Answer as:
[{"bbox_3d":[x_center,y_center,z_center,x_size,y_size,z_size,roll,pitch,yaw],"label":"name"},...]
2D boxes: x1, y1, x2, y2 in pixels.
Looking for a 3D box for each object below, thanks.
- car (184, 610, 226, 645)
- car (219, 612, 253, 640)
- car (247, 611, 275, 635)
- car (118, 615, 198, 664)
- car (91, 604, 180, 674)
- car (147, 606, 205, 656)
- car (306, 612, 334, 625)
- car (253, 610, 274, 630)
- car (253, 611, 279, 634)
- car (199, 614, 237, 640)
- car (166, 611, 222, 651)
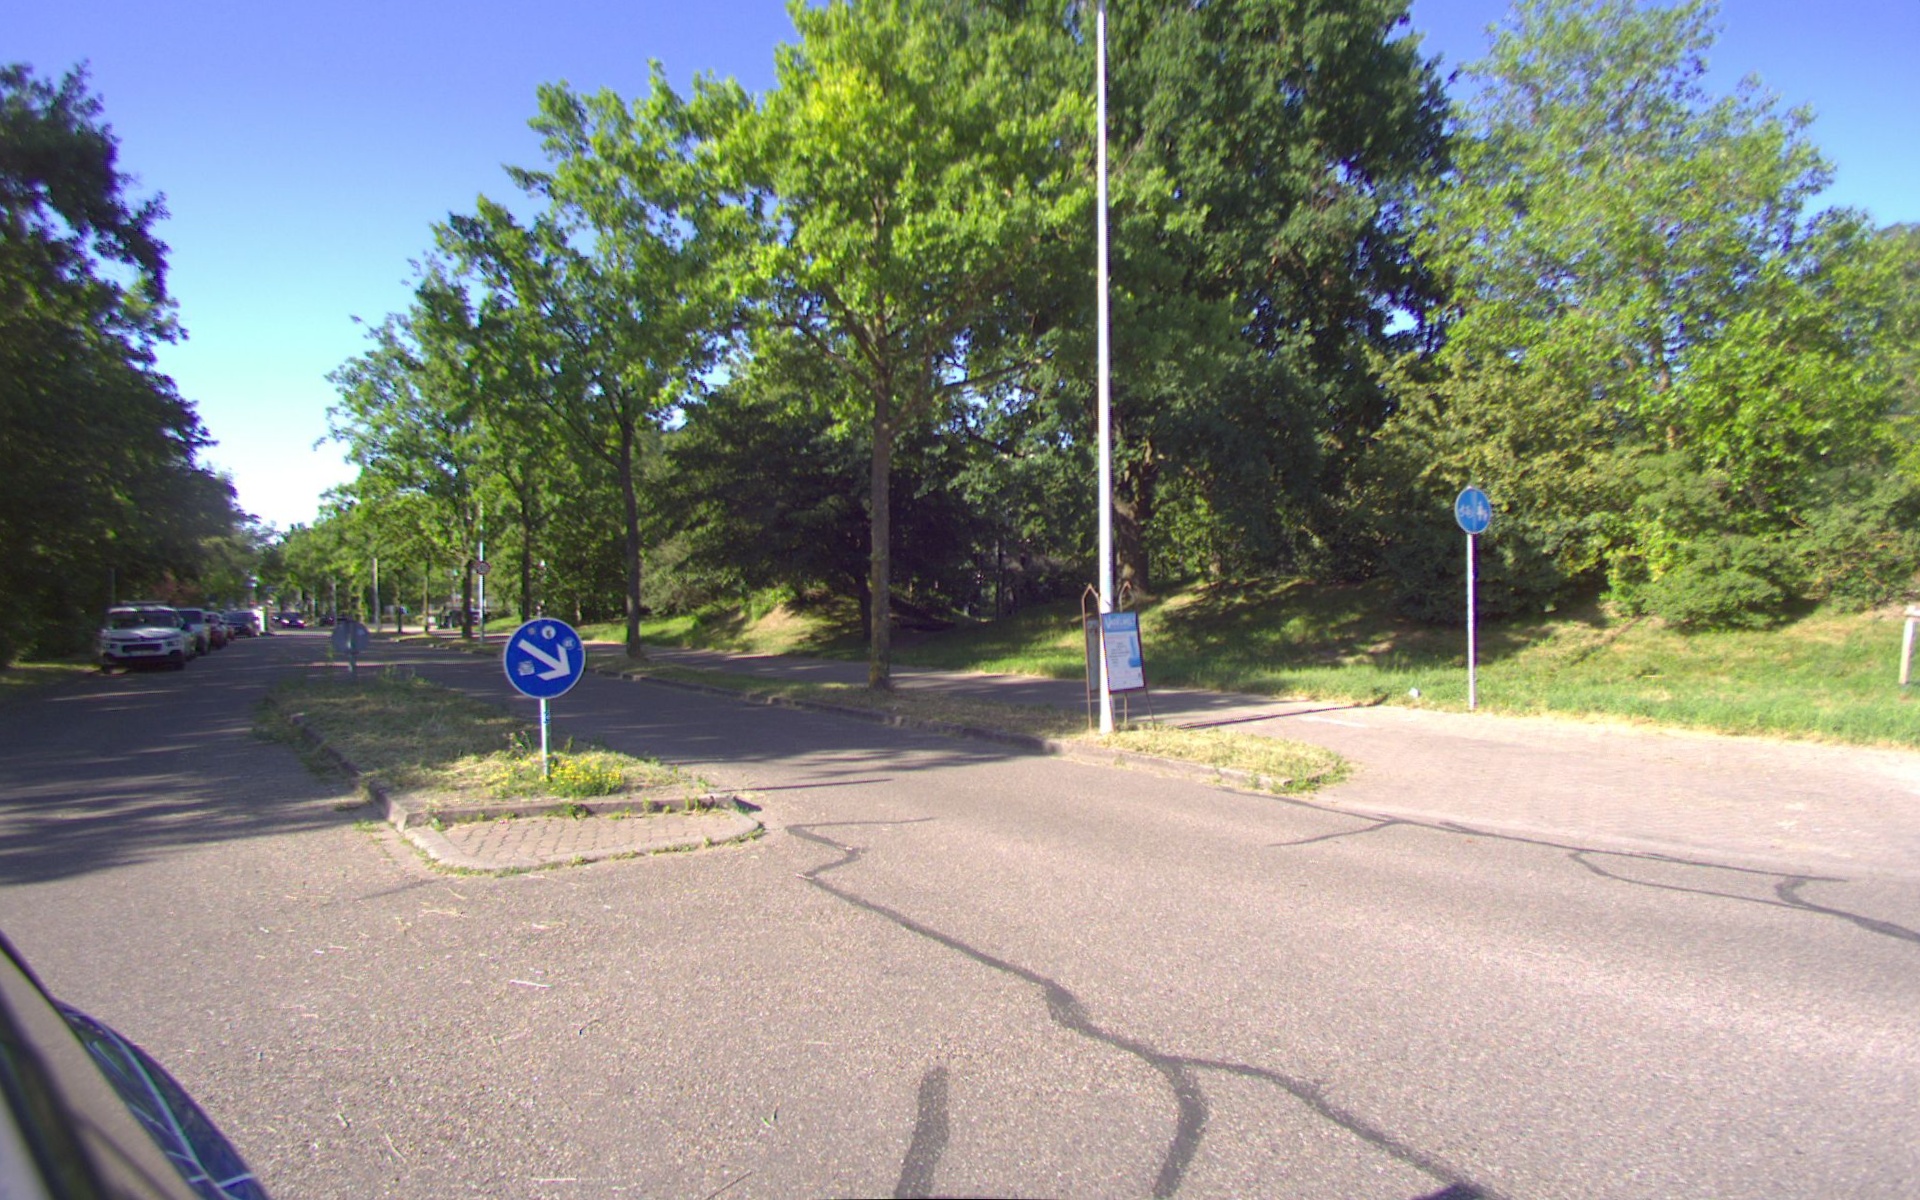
[{"bbox_3d":[-37.053,1.321,49.744,1.476,1.651,3.763,-1,0,-34],"label":"car"},{"bbox_3d":[-45.495,1.592,63.652,1.476,1.666,4.103,-1,0,-32],"label":"car"},{"bbox_3d":[-49.706,1.633,72.015,1.426,1.666,3.730,-1,0,-32],"label":"car"},{"bbox_3d":[-26.317,1.252,33.327,1.695,1.455,4.626,-2,0,-34],"label":"car"},{"bbox_3d":[-22.903,1.013,28.238,1.727,1.762,4.644,-1,0,-37],"label":"car"},{"bbox_3d":[-29.334,1.132,37.924,1.476,1.768,3.811,-1,0,-34],"label":"car"},{"bbox_3d":[-68.788,2.007,108.736,1.969,1.377,4.006,0,-1,-40],"label":"car"},{"bbox_3d":[-63.230,1.807,91.943,1.399,1.666,3.921,-1,0,-32],"label":"car"},{"bbox_3d":[-51.877,1.651,75.688,1.426,1.666,3.730,-1,0,-32],"label":"car"},{"bbox_3d":[-42.402,1.518,57.859,1.476,1.369,3.476,-1,0,-32],"label":"car"},{"bbox_3d":[-33.394,1.327,44.185,1.744,1.651,3.763,-1,0,-34],"label":"car"}]
